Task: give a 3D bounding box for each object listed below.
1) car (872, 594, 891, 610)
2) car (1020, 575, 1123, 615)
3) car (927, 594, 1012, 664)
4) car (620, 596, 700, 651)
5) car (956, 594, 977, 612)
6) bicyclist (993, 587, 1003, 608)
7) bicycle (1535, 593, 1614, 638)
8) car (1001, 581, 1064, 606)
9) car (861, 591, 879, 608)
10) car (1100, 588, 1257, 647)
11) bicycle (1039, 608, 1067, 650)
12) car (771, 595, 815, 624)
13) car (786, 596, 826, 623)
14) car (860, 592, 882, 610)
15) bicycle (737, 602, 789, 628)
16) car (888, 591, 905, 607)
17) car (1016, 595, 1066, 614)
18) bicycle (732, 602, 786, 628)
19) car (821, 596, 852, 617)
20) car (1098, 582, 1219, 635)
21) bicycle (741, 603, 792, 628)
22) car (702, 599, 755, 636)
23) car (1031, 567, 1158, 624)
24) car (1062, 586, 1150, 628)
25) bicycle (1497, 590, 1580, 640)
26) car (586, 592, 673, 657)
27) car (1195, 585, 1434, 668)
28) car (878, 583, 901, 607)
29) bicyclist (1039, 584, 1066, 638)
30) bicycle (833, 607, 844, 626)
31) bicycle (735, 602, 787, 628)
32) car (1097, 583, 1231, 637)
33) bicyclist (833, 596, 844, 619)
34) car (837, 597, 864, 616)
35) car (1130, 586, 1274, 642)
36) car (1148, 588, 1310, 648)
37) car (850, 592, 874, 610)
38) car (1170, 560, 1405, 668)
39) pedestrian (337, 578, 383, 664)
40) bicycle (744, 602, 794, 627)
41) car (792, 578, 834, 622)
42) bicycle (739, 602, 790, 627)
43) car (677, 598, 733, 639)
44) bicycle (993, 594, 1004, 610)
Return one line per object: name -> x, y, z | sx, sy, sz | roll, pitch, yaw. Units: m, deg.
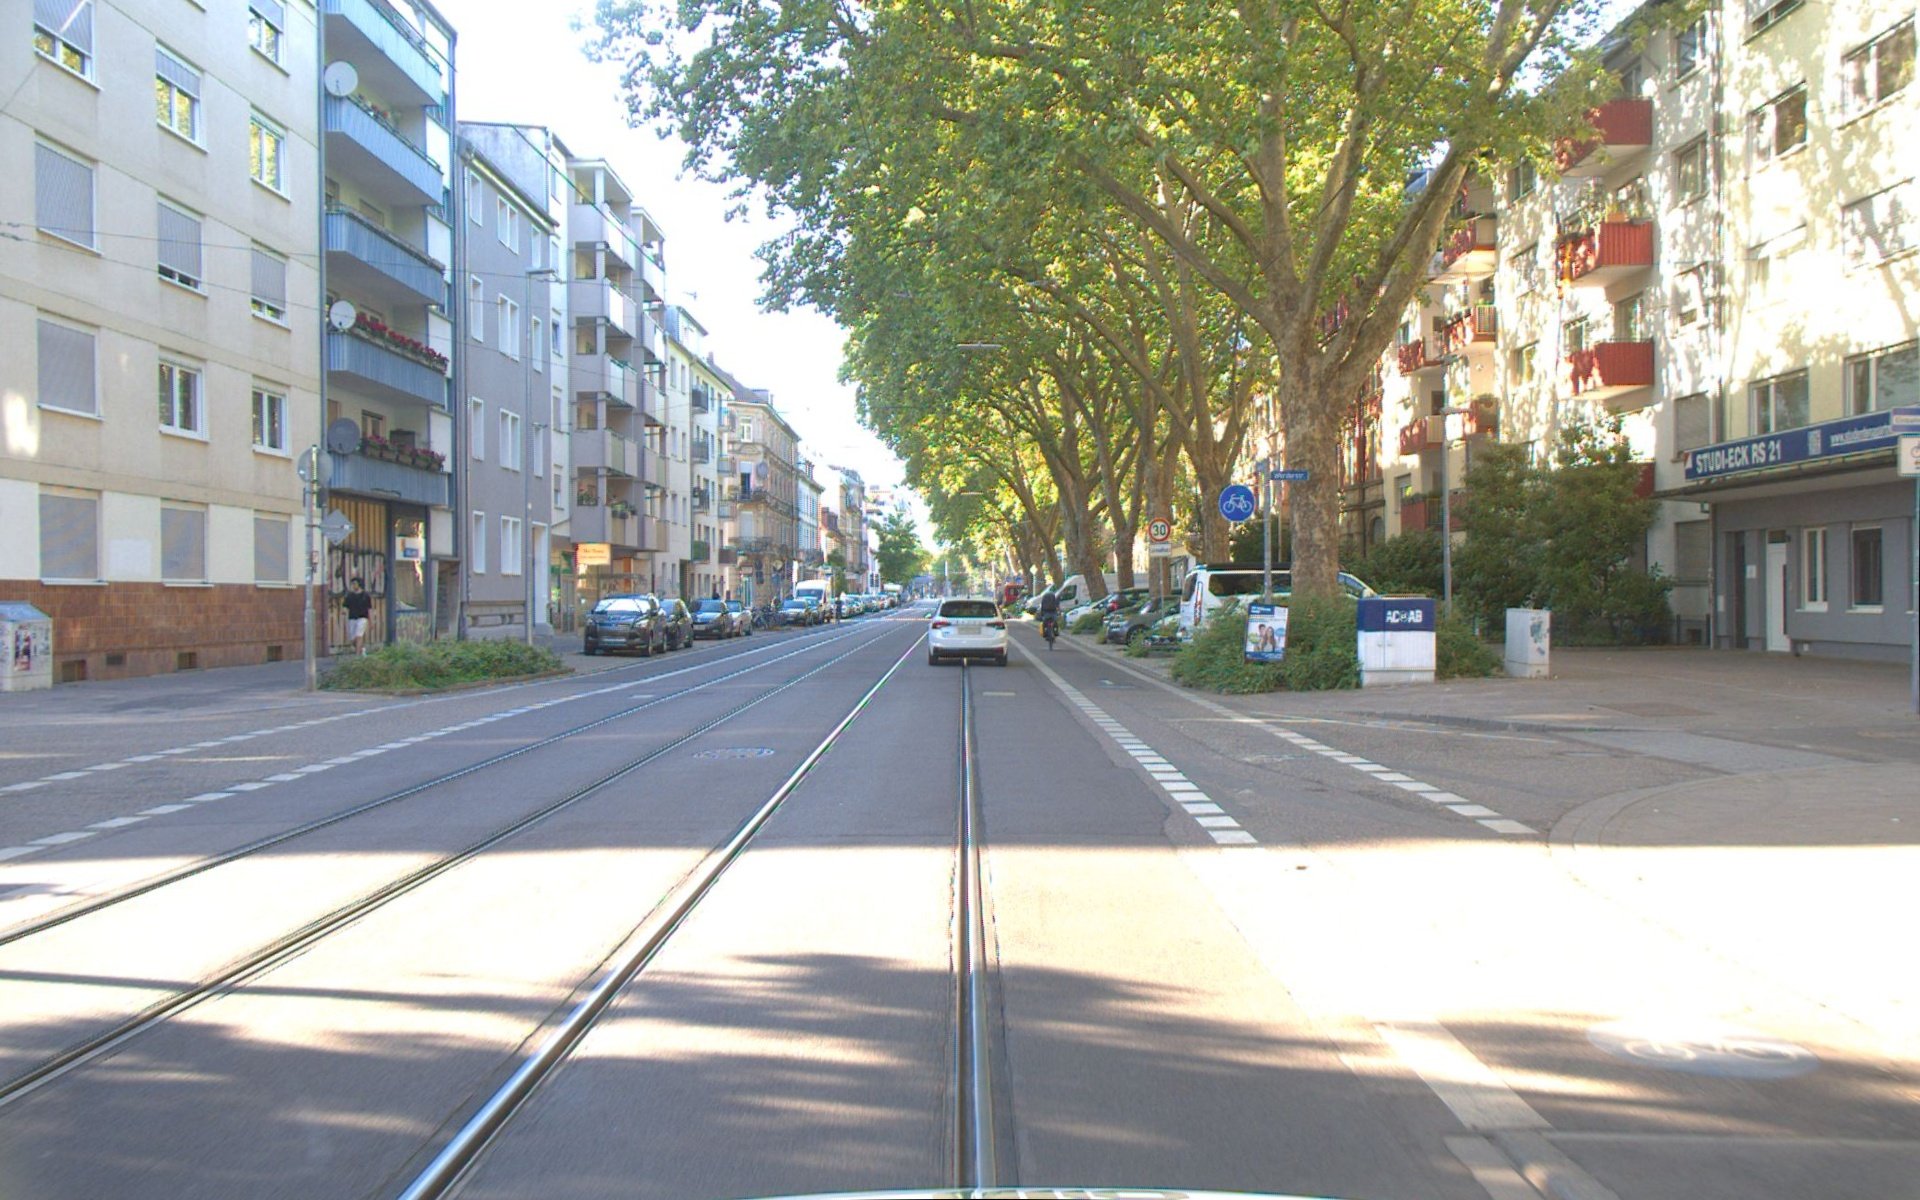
car -> -8.746, 0.235, 185.279 | 1.953, 1.668, 4.000 | 0, 0, 0
car -> 6.718, -0.323, 100.200 | 6.007, 2.322, 2.528 | -1, 0, -2
car -> 0.206, 0.583, 35.903 | 1.725, 1.408, 4.000 | -1, 0, 0
car -> -9.303, 0.695, 51.573 | 1.667, 1.571, 4.241 | 2, 0, 0
car -> 0.565, 0.258, 143.328 | 1.725, 1.501, 4.000 | -1, 0, 0
bicyclist -> 2.588, -0.185, 112.026 | 0.636, 1.367, 0.934 | -1, 0, -2
bicycle -> 15.608, 0.392, 42.019 | 1.756, 1.060, 0.617 | -3, 0, -4
car -> 7.012, -0.666, 160.426 | 6.007, 2.322, 2.528 | -1, 0, -2
car -> -11.109, -0.083, 204.553 | 1.953, 2.049, 4.000 | -1, 0, 0
car -> 6.011, 0.478, 45.797 | 4.059, 1.540, 1.931 | -1, 0, -1
bicycle -> 2.578, 0.796, 46.027 | 0.667, 1.089, 1.781 | -1, 0, 1
car -> -9.199, 0.513, 91.397 | 1.953, 1.557, 4.000 | -1, 0, 0
car -> -9.044, 0.537, 97.178 | 1.953, 1.557, 4.000 | -1, 0, 0
car -> -8.555, 0.102, 159.452 | 1.953, 1.668, 4.000 | 0, 0, 0
bicycle -> -9.665, 0.728, 81.132 | 2.475, 1.193, 0.718 | 1, -2, -5
car -> -7.968, -0.116, 207.037 | 1.953, 2.049, 4.000 | -1, 0, 0
car -> 6.637, 0.363, 136.218 | 3.966, 1.567, 2.000 | -1, 0, -1
bicycle -> -9.651, 0.731, 79.415 | 2.509, 1.193, 0.870 | 2, -2, -40
car -> -9.211, 0.469, 123.449 | 1.953, 1.557, 4.000 | -1, 0, 0
car -> 6.780, 0.279, 56.715 | 3.906, 1.709, 1.723 | -1, 0, -1
bicycle -> -9.694, 0.800, 82.967 | 2.475, 1.193, 0.718 | 1, -2, -5
car -> -9.363, 0.672, 67.210 | 1.454, 1.428, 3.991 | -1, 0, 2
car -> 6.596, -0.214, 81.580 | 6.007, 2.681, 2.528 | -1, 0, -2
car -> 6.103, 0.288, 69.325 | 3.558, 1.695, 1.823 | -1, 0, 2
bicycle -> 14.712, 0.375, 42.083 | 1.908, 1.177, 0.571 | -3, 0, -8
car -> -9.222, 0.653, 46.428 | 1.668, 1.679, 4.240 | 2, 0, -2
car -> 6.804, 0.496, 32.010 | 4.210, 1.505, 1.830 | -1, 0, -1
car -> -9.623, -0.698, 226.013 | 2.907, 3.211, 5.847 | 0, 0, 0
bicyclist -> 2.569, 0.307, 46.042 | 0.664, 1.468, 1.047 | -1, 0, 1
bicycle -> -7.268, 0.974, 98.891 | 0.593, 1.089, 1.582 | -1, 0, -2
bicycle -> -9.650, 0.730, 80.246 | 2.476, 1.193, 0.718 | 1, -2, -7
car -> 6.672, 0.321, 54.408 | 4.149, 1.695, 1.847 | -1, 0, -1
bicyclist -> -7.284, 0.444, 98.936 | 0.585, 1.308, 0.916 | -1, 0, -3
car -> -9.103, 0.541, 137.412 | 1.953, 1.557, 4.000 | -1, 0, 0
car -> 7.018, 0.385, 48.242 | 3.906, 1.540, 1.761 | -1, 0, -1
car -> 7.028, 0.460, 43.548 | 3.953, 1.505, 1.923 | -1, 0, 0
car -> -9.018, 0.095, 152.761 | 1.953, 1.557, 4.000 | -1, 0, 0
car -> 6.788, 0.276, 34.588 | 4.452, 2.113, 2.000 | -1, 0, -3
pedestrian -> -13.121, 0.455, 36.198 | 0.650, 1.858, 0.965 | -1, 0, -2
bicycle -> -9.687, 0.724, 84.024 | 2.476, 1.193, 0.718 | 1, -2, -6
car -> -9.148, -0.020, 103.122 | 2.134, 2.642, 4.948 | -1, 0, 0
bicycle -> -9.689, 0.722, 82.120 | 2.475, 1.193, 0.718 | 1, -2, -5
car -> -9.557, 0.682, 62.167 | 1.620, 1.462, 3.835 | -1, 0, -2
bicycle -> 2.610, 0.133, 112.009 | 0.636, 1.089, 1.582 | -1, 0, -2
